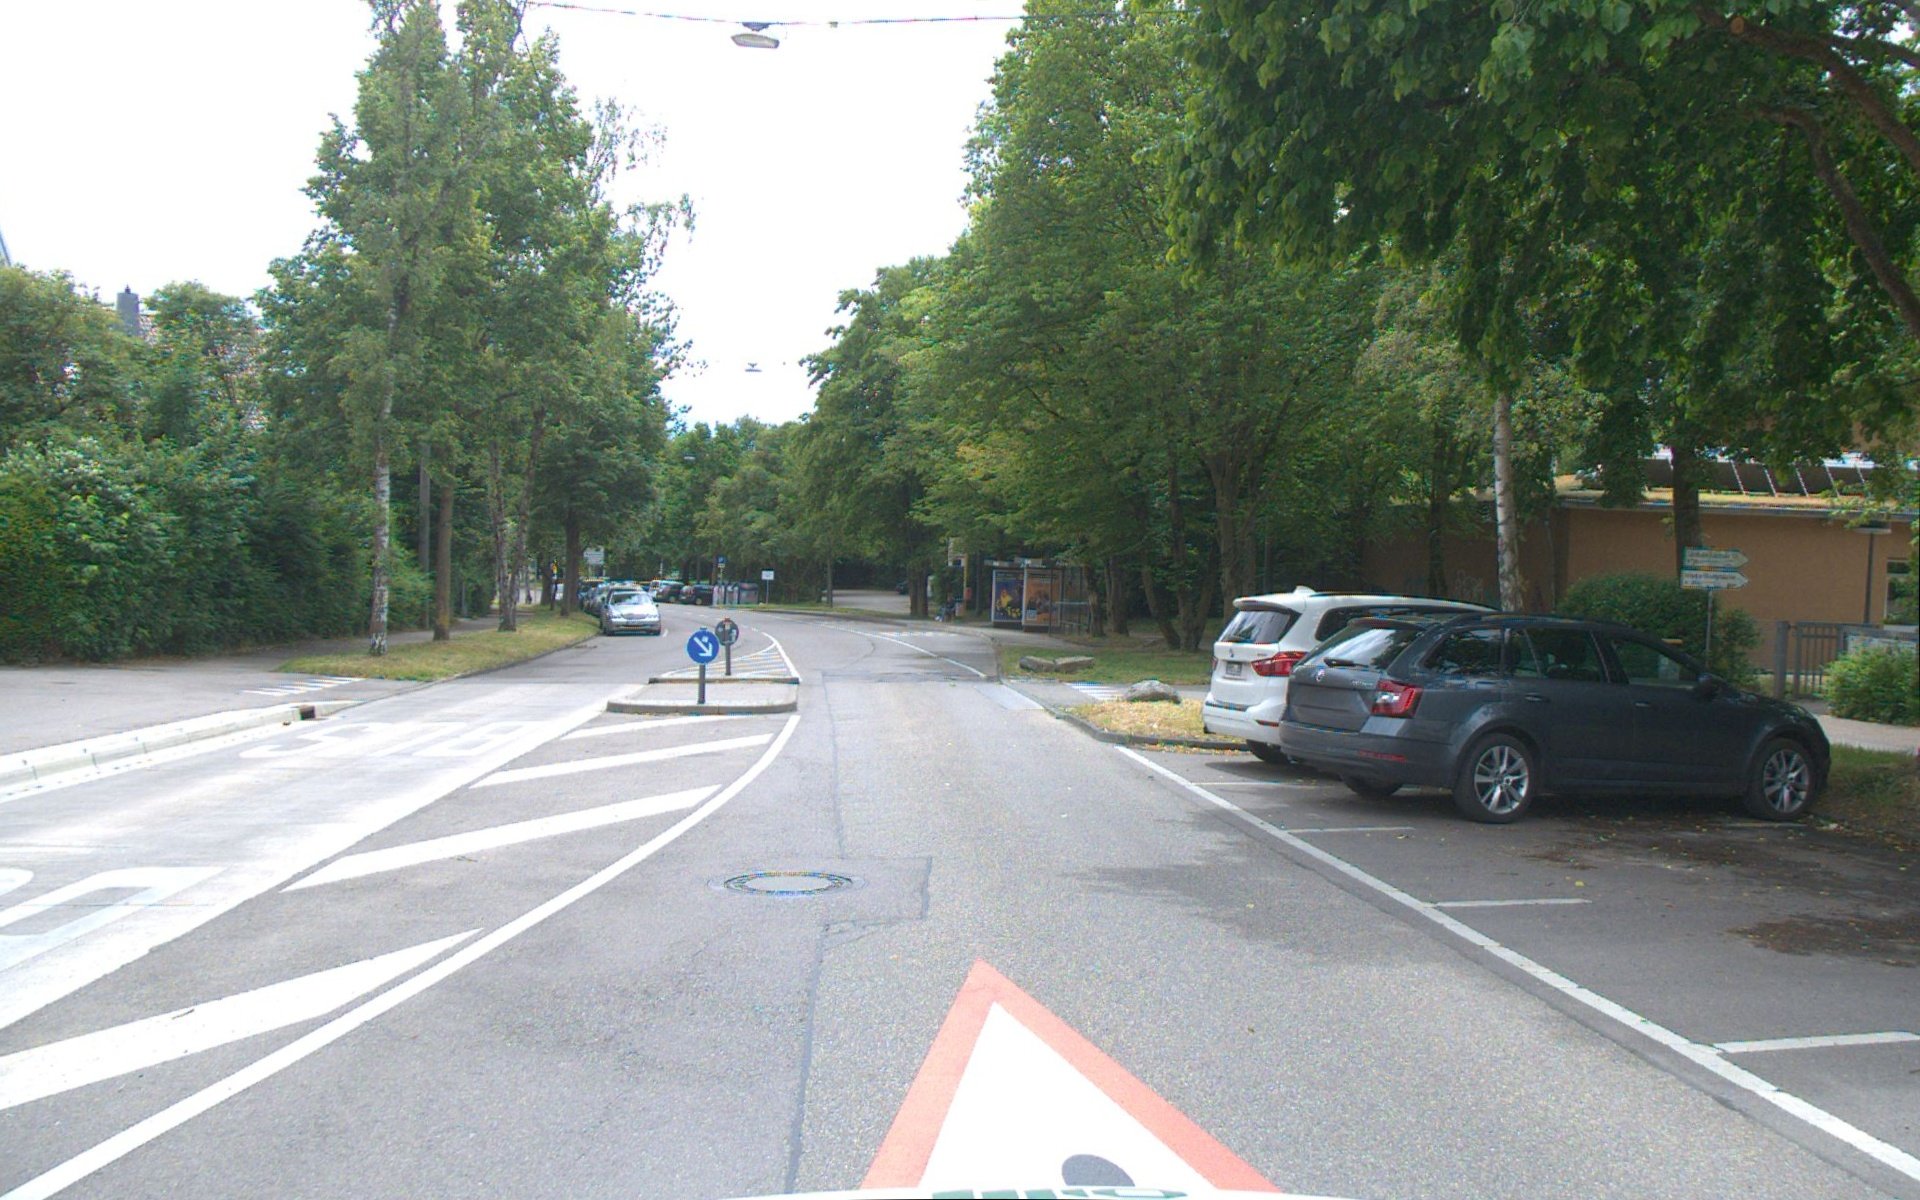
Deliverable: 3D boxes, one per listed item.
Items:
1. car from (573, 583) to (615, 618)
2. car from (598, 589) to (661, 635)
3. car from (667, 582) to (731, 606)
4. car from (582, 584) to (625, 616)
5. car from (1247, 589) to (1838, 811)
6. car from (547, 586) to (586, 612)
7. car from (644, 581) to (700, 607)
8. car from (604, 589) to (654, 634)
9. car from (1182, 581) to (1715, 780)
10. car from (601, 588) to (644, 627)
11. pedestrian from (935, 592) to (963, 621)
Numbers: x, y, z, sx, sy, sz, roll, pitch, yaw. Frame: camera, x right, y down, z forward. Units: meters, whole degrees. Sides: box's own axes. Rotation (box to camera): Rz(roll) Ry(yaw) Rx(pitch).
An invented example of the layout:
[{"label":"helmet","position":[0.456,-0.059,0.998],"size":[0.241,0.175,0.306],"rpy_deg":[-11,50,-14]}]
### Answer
[{"label":"car","position":[-20.573,0.020,92.894],"size":[1.829,1.942,5.057],"rpy_deg":[0,0,-18]},{"label":"car","position":[-11.009,0.378,54.900],"size":[1.707,1.441,4.452],"rpy_deg":[-1,1,-16]},{"label":"car","position":[-18.413,-0.411,116.760],"size":[3.968,1.438,2.025],"rpy_deg":[4,0,-44]},{"label":"car","position":[-17.972,0.006,83.226],"size":[1.836,1.565,4.209],"rpy_deg":[0,0,-16]},{"label":"car","position":[4.459,0.752,12.722],"size":[4.072,1.489,1.788],"rpy_deg":[2,0,-20]},{"label":"car","position":[-25.763,-0.073,108.279],"size":[1.780,1.590,4.238],"rpy_deg":[-3,1,-22]},{"label":"car","position":[-21.999,-0.469,126.541],"size":[3.801,1.750,1.848],"rpy_deg":[4,-2,-44]},{"label":"car","position":[-12.158,0.385,60.915],"size":[1.704,1.565,4.179],"rpy_deg":[-1,0,-10]},{"label":"car","position":[4.492,0.731,15.418],"size":[4.392,1.613,1.900],"rpy_deg":[2,0,-14]},{"label":"car","position":[-14.758,0.303,72.225],"size":[1.705,1.606,4.127],"rpy_deg":[-1,0,-13]},{"label":"pedestrian","position":[-0.463,0.281,70.221],"size":[1.046,1.203,0.577],"rpy_deg":[0,0,-16]}]
